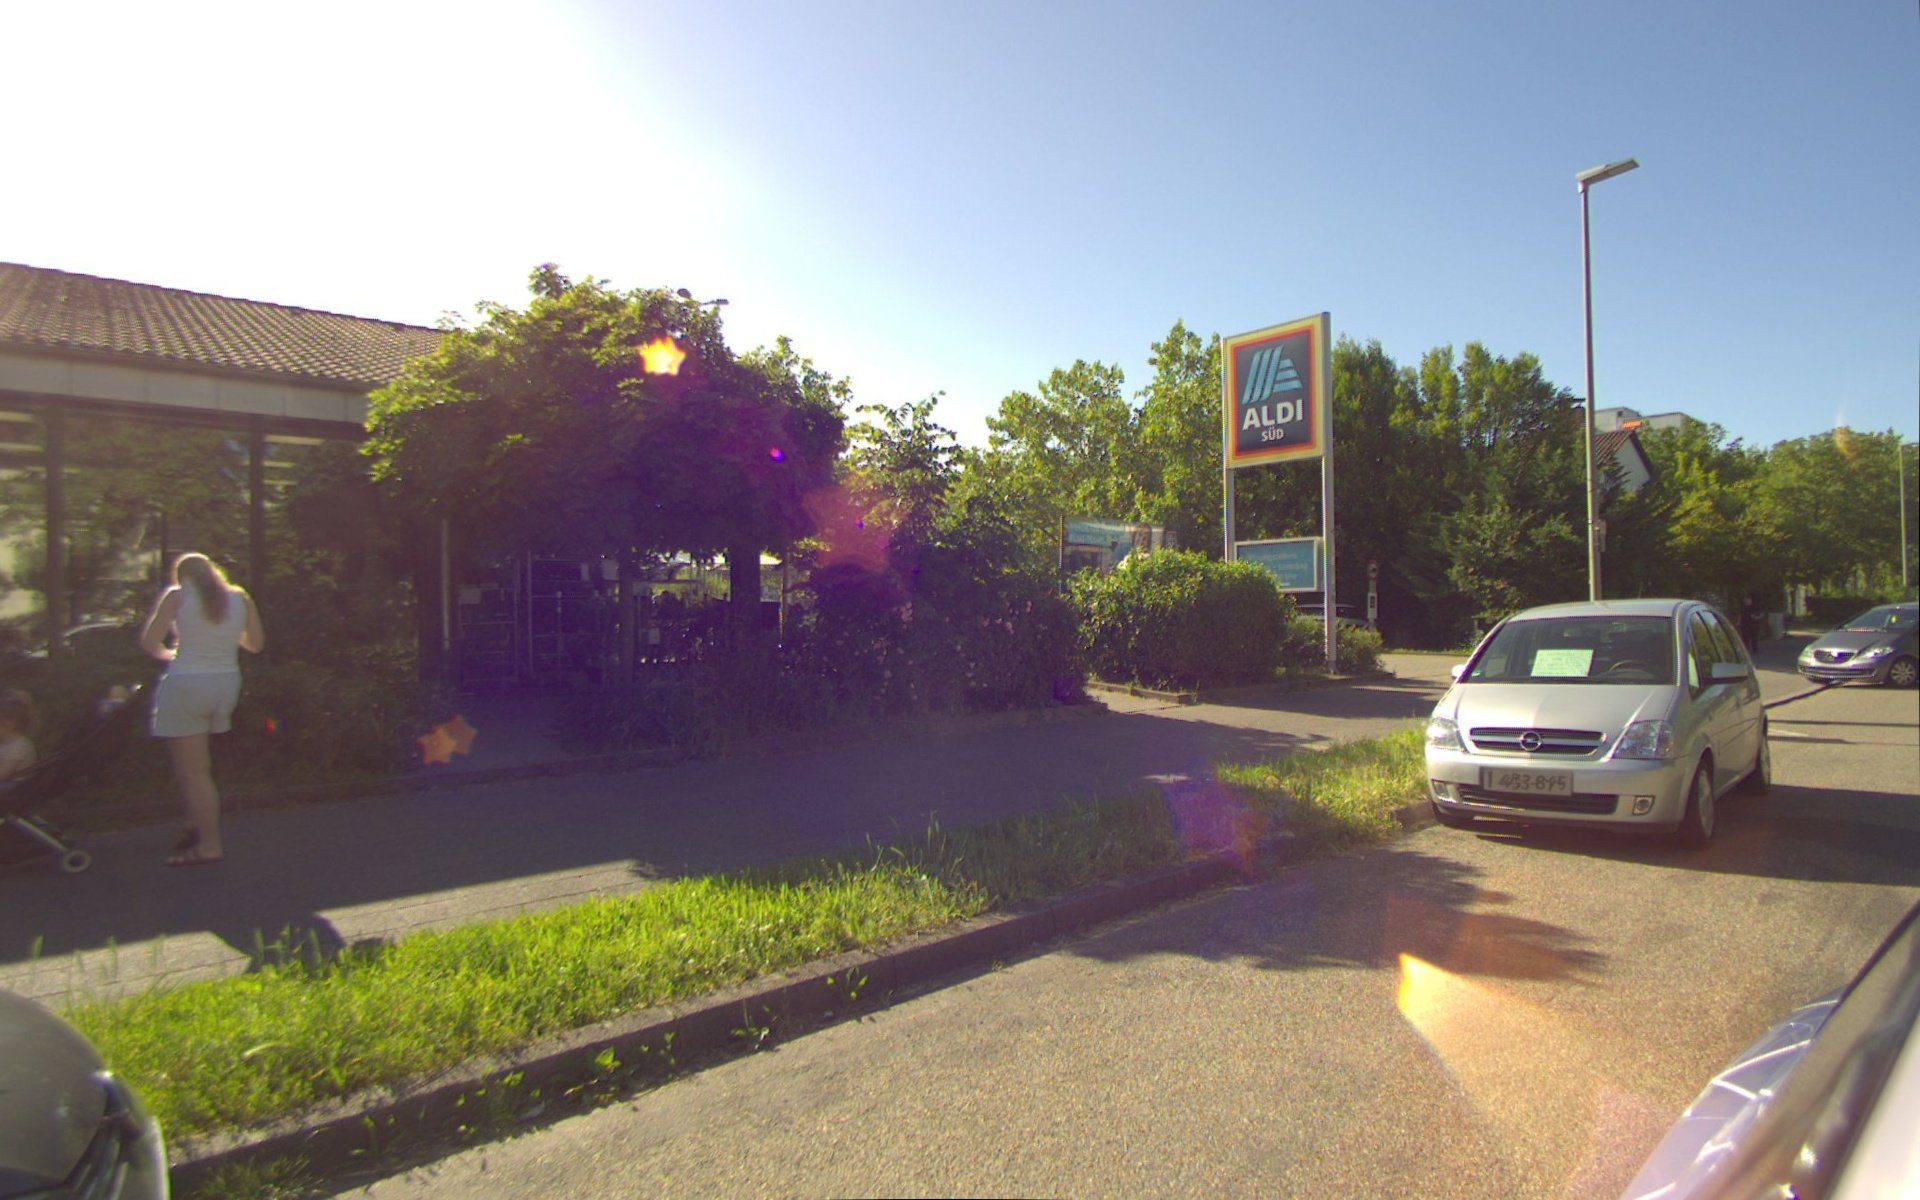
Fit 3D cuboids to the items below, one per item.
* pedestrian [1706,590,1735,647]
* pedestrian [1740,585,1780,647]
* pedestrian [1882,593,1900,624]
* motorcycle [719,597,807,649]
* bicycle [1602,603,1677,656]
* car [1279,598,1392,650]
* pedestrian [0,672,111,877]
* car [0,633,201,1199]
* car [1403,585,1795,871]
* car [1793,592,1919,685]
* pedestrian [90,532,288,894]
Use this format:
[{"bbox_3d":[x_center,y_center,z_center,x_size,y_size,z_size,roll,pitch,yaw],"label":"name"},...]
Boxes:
[{"bbox_3d":[22.456,0.538,29.867,0.780,1.629,0.573,-2,2,-44],"label":"pedestrian"},{"bbox_3d":[23.066,0.437,29.173,0.968,1.738,0.804,-2,2,-44],"label":"pedestrian"},{"bbox_3d":[50.893,0.456,55.325,0.629,1.659,0.641,0,-1,-38],"label":"pedestrian"},{"bbox_3d":[-5.987,0.679,30.807,2.552,1.528,0.871,0,-1,-41],"label":"motorcycle"},{"bbox_3d":[17.298,0.736,25.757,1.857,1.236,0.724,-1,2,-25],"label":"bicycle"},{"bbox_3d":[11.798,0.710,31.727,3.736,1.522,1.775,0,-1,-41],"label":"car"},{"bbox_3d":[-5.031,0.906,5.329,0.794,0.993,0.534,0,-1,-33],"label":"pedestrian"},{"bbox_3d":[-3.120,0.805,0.507,4.287,1.462,1.810,0,-1,-41],"label":"car"},{"bbox_3d":[5.063,0.725,7.779,3.963,1.619,1.680,-1,-1,-45],"label":"car"},{"bbox_3d":[18.447,0.687,19.349,3.678,1.666,1.859,0,-1,-9],"label":"car"},{"bbox_3d":[-4.212,0.565,5.601,0.793,1.804,0.801,0,-1,-33],"label":"pedestrian"}]
